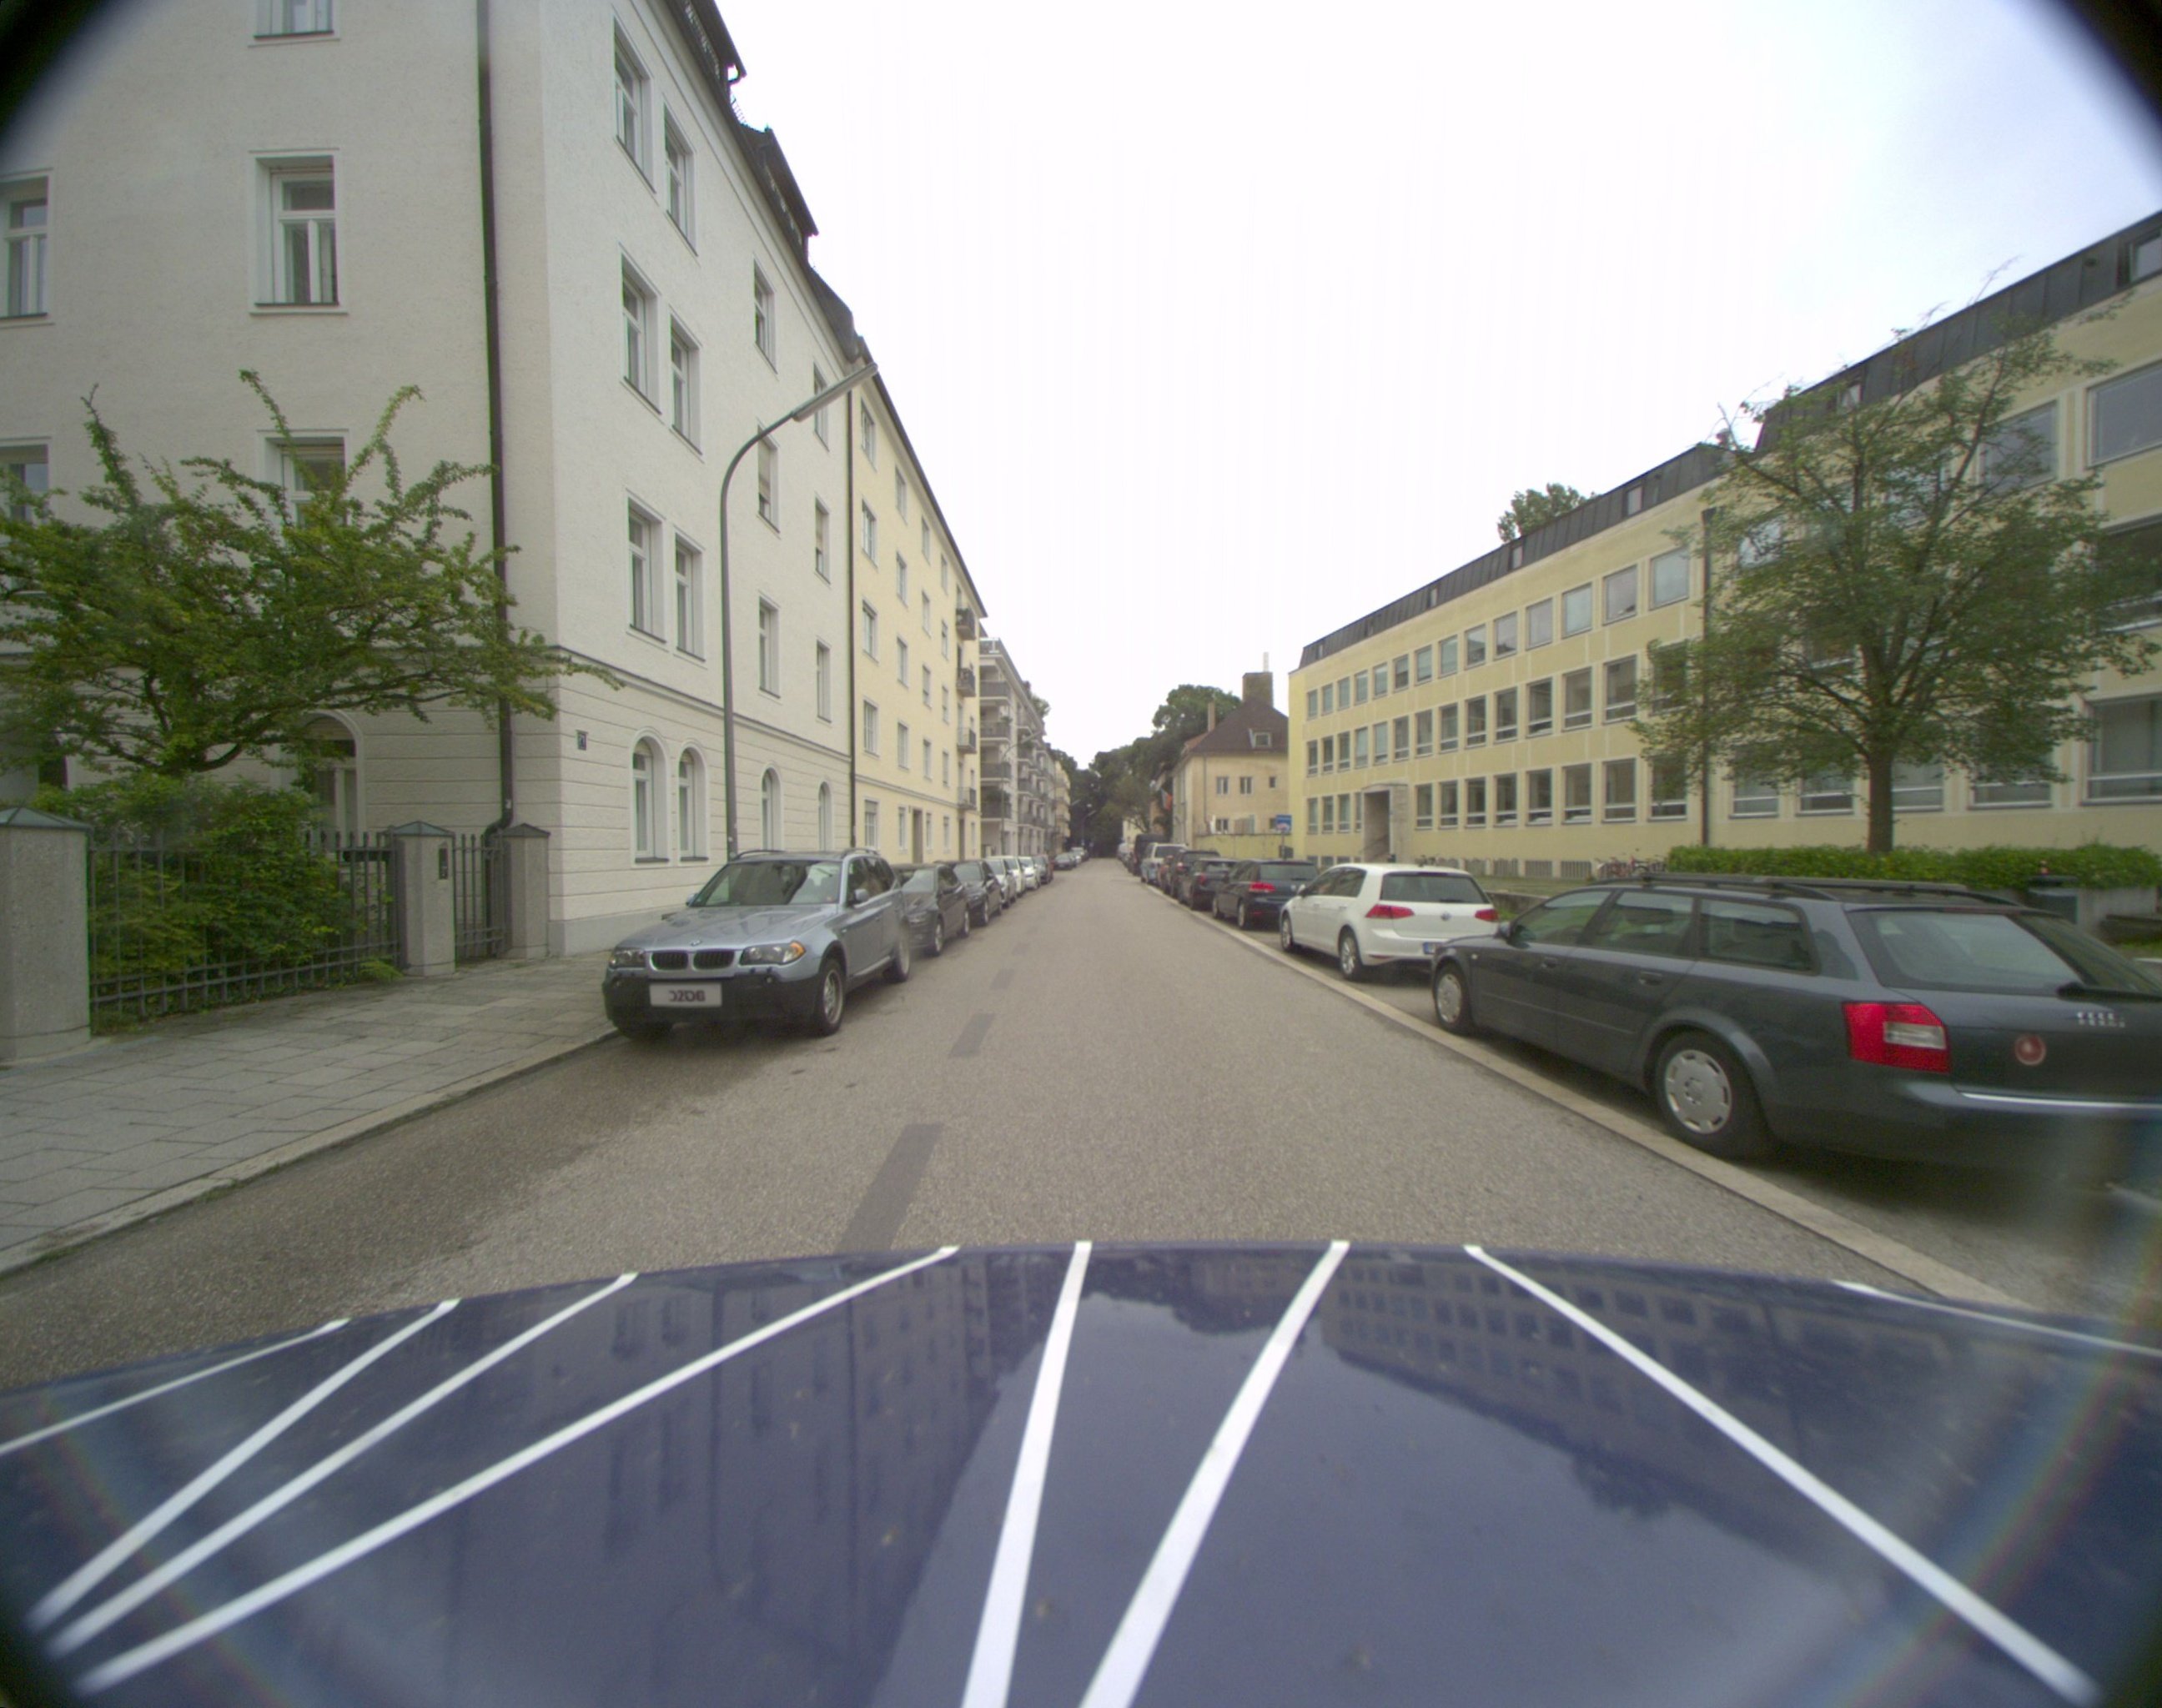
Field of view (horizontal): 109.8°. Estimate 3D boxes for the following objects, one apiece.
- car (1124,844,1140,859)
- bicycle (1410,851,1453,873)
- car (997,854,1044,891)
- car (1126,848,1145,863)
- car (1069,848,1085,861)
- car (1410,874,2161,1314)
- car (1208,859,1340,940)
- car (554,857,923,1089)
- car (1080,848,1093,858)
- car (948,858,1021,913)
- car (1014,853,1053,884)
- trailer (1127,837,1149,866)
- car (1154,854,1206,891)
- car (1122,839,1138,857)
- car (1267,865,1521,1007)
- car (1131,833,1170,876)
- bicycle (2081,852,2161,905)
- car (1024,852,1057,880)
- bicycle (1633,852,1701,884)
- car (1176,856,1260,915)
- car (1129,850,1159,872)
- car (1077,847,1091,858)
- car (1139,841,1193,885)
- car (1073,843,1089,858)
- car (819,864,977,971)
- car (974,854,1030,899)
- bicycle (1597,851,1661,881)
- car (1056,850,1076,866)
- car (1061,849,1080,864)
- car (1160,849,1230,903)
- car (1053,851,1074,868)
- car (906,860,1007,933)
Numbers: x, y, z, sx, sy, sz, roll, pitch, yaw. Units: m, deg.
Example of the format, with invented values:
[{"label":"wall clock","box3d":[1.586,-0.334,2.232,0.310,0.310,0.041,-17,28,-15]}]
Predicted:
[{"label":"car","box3d":[6.302,-0.324,94.095,1.817,1.724,3.649,-1,1,2]},{"label":"bicycle","box3d":[16.866,0.377,36.517,1.954,1.008,0.580,-2,1,-16]},{"label":"car","box3d":[-2.577,0.764,33.277,1.683,1.402,4.442,-1,1,0]},{"label":"car","box3d":[5.546,0.142,77.092,1.767,1.505,3.842,0,1,2]},{"label":"car","box3d":[-0.467,0.042,88.657,1.766,1.449,3.747,-1,1,1]},{"label":"car","box3d":[4.000,0.951,4.977,1.759,1.445,4.395,1,1,0]},{"label":"car","box3d":[3.966,0.870,16.279,1.661,1.445,3.973,1,1,-2]},{"label":"car","box3d":[-3.005,0.899,7.867,1.726,1.625,4.457,-1,1,1]},{"label":"car","box3d":[0.814,-0.182,119.642,1.871,1.455,4.268,-1,1,3]},{"label":"car","box3d":[-2.834,0.877,23.026,1.683,1.419,4.166,-1,1,0]},{"label":"car","box3d":[-2.346,0.708,38.517,1.683,1.402,4.421,-1,1,0]},{"label":"trailer","box3d":[5.440,-0.253,71.628,1.817,2.521,3.390,3,1,6]},{"label":"car","box3d":[4.138,0.733,32.190,1.748,1.379,3.918,-1,1,1]},{"label":"car","box3d":[6.750,-0.852,104.367,2.104,2.418,4.549,-1,1,4]},{"label":"car","box3d":[3.967,0.945,10.439,1.661,1.445,4.072,1,1,-2]},{"label":"car","box3d":[4.514,-0.016,50.074,2.302,2.630,5.653,1,1,3]},{"label":"bicycle","box3d":[21.670,0.486,15.642,1.954,1.008,0.624,-1,1,-16]},{"label":"car","box3d":[-2.313,0.638,43.922,1.683,1.489,3.823,-1,1,0]},{"label":"bicycle","box3d":[19.700,0.462,25.554,1.953,1.008,0.625,-1,1,-9]},{"label":"car","box3d":[3.779,0.823,21.536,1.684,1.445,3.869,1,1,0]},{"label":"car","box3d":[4.552,0.474,55.119,1.706,1.485,3.488,-1,1,-3]},{"label":"car","box3d":[0.417,-0.215,109.499,1.871,1.455,4.268,-1,1,3]},{"label":"car","box3d":[4.047,0.392,36.930,1.933,1.968,5.021,0,1,-1]},{"label":"car","box3d":[0.037,-0.454,103.869,1.871,2.002,4.268,-1,1,3]},{"label":"car","box3d":[-2.953,0.957,13.143,1.683,1.419,4.086,-1,1,1]},{"label":"car","box3d":[-2.886,0.781,28.470,1.683,1.473,4.166,-1,1,0]},{"label":"bicycle","box3d":[19.452,0.409,26.968,1.953,1.008,0.625,-1,1,-9]},{"label":"car","box3d":[-1.385,0.332,72.111,1.766,1.449,3.417,-1,1,1]},{"label":"car","box3d":[-1.049,0.262,76.787,1.766,1.449,3.747,-1,1,1]},{"label":"car","box3d":[3.915,0.697,26.829,1.748,1.656,4.448,3,1,0]},{"label":"car","box3d":[-1.529,0.491,67.257,1.784,1.386,4.245,-1,1,-2]},{"label":"car","box3d":[-2.798,0.902,18.029,1.683,1.419,4.390,-1,1,0]}]
